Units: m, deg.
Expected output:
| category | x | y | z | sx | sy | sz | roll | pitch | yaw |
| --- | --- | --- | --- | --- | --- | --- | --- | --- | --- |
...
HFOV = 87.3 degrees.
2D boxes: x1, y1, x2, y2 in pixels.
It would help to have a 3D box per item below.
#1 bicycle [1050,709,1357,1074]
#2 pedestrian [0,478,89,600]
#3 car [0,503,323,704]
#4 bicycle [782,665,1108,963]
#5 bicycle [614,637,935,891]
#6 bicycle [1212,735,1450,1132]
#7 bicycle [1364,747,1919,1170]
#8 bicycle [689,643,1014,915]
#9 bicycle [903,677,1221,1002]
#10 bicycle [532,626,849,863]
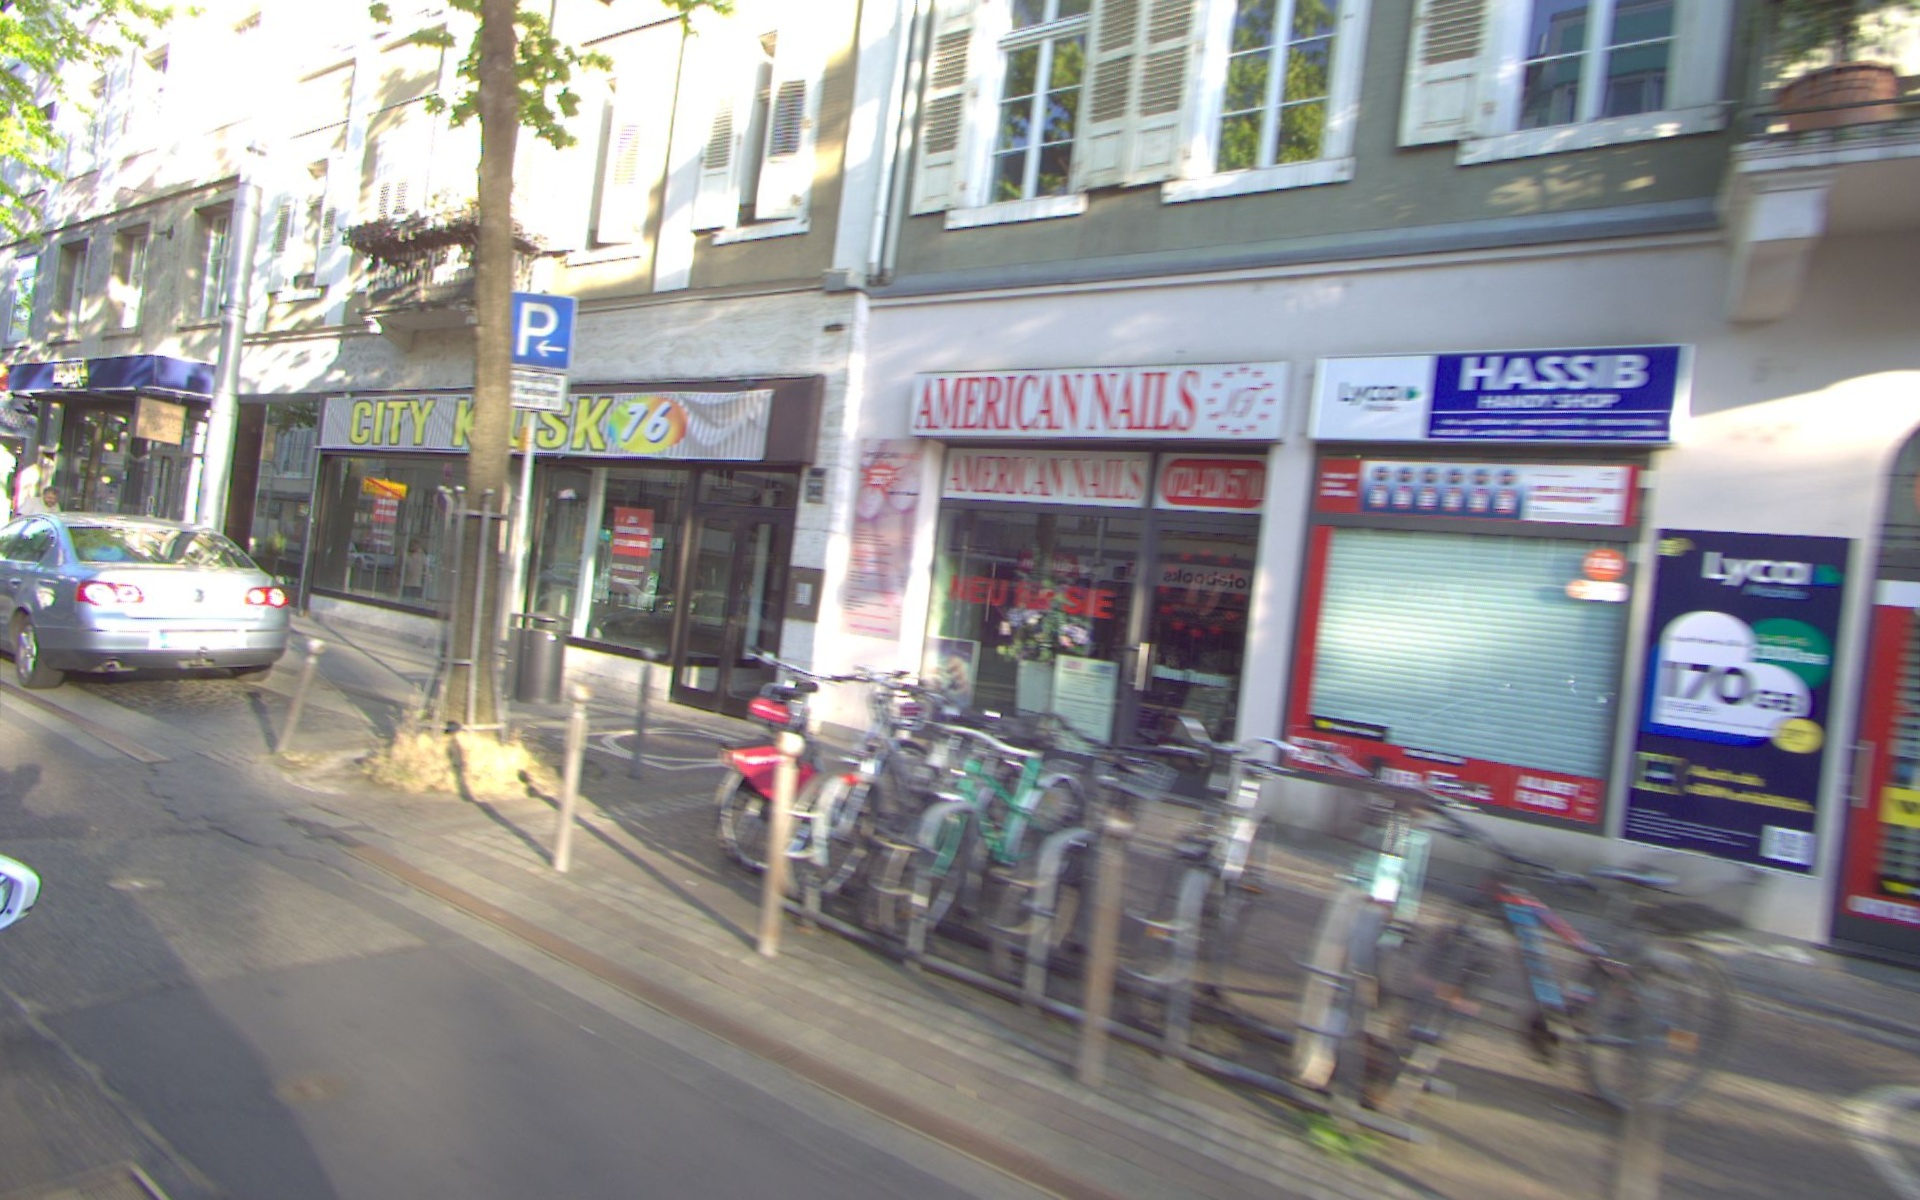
| category | x | y | z | sx | sy | sz | roll | pitch | yaw |
| --- | --- | --- | --- | --- | --- | --- | --- | --- | --- |
| bicycle | 1.146 | 1.095 | 4.350 | 0.553 | 1.168 | 1.868 | 6 | -1 | 34 |
| pedestrian | -13.572 | -0.888 | 14.846 | 0.743 | 1.664 | 0.803 | 7 | 1 | 33 |
| car | -8.134 | -0.091 | 9.641 | 4.351 | 1.459 | 1.775 | 6 | 2 | 34 |
| bicycle | 0.023 | 0.980 | 5.081 | 0.553 | 1.168 | 1.868 | 6 | -1 | 34 |
| bicycle | -0.969 | 0.870 | 5.771 | 0.553 | 1.168 | 1.867 | 6 | -1 | 34 |
| bicycle | 1.570 | 1.170 | 4.045 | 0.342 | 1.168 | 1.868 | 7 | -1 | 34 |
| bicycle | 2.348 | 1.205 | 3.460 | 1.652 | 1.168 | 0.461 | 7 | 0 | -7 |
| bicycle | -0.489 | 0.896 | 5.443 | 0.553 | 1.168 | 1.868 | 6 | -1 | 34 |
| bicycle | 0.577 | 1.008 | 4.752 | 0.553 | 1.168 | 1.868 | 6 | -1 | 34 |
| bicycle | -1.539 | 0.791 | 6.089 | 0.553 | 1.169 | 1.865 | 6 | 1 | 34 |
